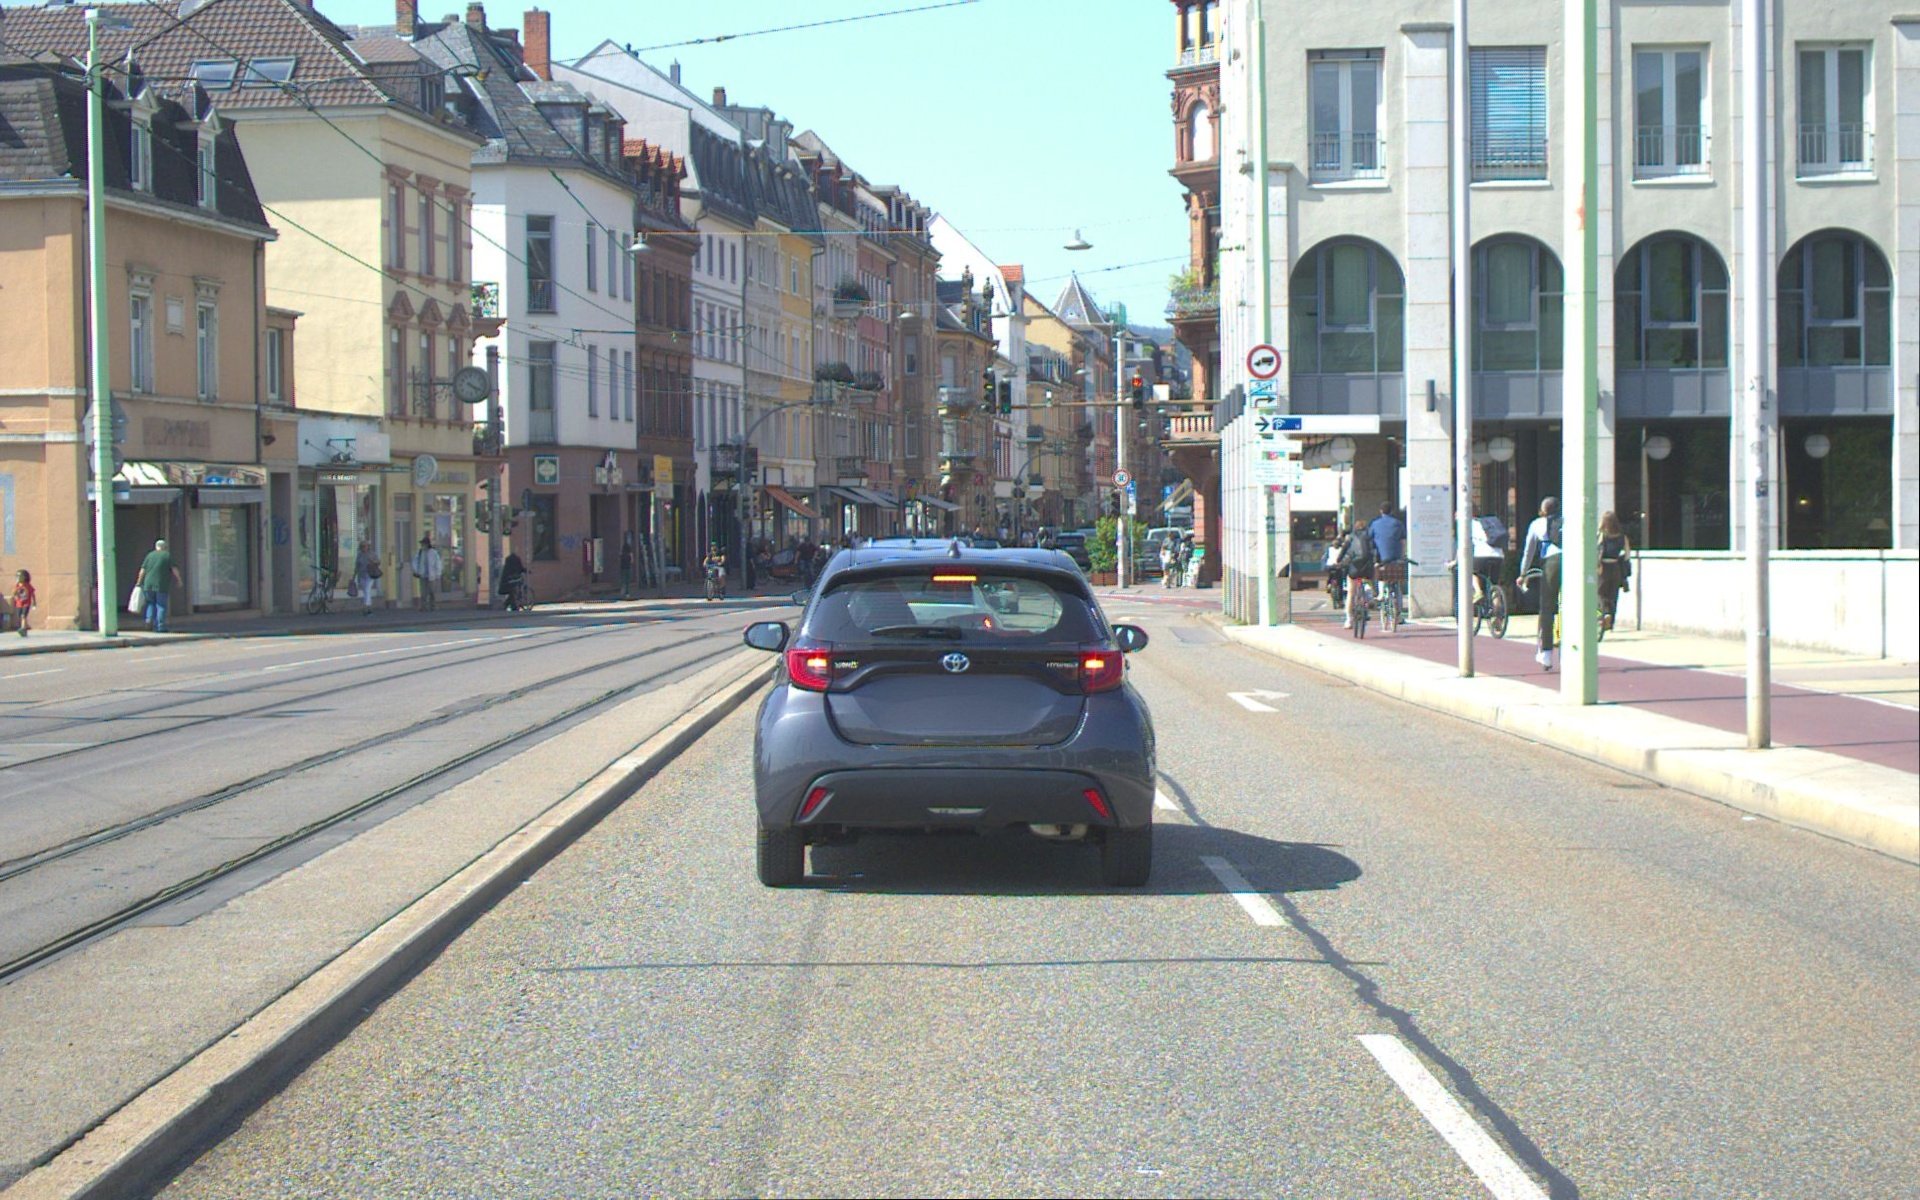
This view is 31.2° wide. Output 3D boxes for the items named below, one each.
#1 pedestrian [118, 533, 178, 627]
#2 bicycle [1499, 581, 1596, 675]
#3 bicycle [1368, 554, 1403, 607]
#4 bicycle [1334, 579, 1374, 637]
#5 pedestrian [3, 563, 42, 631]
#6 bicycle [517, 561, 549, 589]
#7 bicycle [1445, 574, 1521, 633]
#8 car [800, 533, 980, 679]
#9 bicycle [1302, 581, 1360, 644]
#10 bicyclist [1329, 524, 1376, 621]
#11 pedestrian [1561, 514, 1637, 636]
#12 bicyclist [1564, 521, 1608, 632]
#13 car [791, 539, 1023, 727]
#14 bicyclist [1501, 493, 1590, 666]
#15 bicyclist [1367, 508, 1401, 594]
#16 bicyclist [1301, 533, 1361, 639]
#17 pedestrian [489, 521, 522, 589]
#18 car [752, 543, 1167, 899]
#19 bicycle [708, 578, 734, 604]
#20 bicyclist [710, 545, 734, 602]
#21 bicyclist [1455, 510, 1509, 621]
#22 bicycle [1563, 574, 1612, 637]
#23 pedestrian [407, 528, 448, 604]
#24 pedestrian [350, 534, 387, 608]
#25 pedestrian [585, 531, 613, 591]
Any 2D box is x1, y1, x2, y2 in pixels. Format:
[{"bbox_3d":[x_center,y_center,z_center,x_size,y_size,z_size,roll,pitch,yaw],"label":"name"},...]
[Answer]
[{"bbox_3d":[-14.799,-0.365,62.688,0.762,1.648,0.711,4,1,6],"label":"pedestrian"},{"bbox_3d":[5.854,0.269,34.333,0.704,0.879,1.525,-1,1,1],"label":"bicycle"},{"bbox_3d":[6.281,-0.291,50.791,0.416,0.763,0.962,-2,1,3],"label":"bicycle"},{"bbox_3d":[5.459,0.106,47.646,0.416,0.763,1.205,-2,1,1],"label":"bicycle"},{"bbox_3d":[-16.264,-0.056,59.626,0.412,1.142,0.544,4,1,6],"label":"pedestrian"},{"bbox_3d":[-11.218,-0.661,90.338,0.620,0.713,1.771,1,2,0],"label":"bicycle"},{"bbox_3d":[6.983,0.043,45.922,0.416,0.763,0.961,-3,1,-39],"label":"bicycle"},{"bbox_3d":[-0.773,0.028,38.696,1.897,1.525,4.000,1,1,-1],"label":"car"},{"bbox_3d":[9.099,0.297,84.498,1.112,1.415,3.007,4,1,2],"label":"bicycle"},{"bbox_3d":[5.427,-0.381,47.539,0.538,1.312,0.672,-2,1,1],"label":"bicyclist"},{"bbox_3d":[8.751,-0.347,47.117,0.739,1.609,1.016,4,1,-1],"label":"pedestrian"},{"bbox_3d":[7.901,-0.303,43.401,0.422,1.378,0.443,-2,1,0],"label":"bicyclist"},{"bbox_3d":[-0.461,0.241,30.509,1.897,1.525,4.000,1,1,-1],"label":"car"},{"bbox_3d":[5.843,-0.214,34.357,0.701,1.689,0.924,-1,1,0],"label":"bicyclist"},{"bbox_3d":[6.269,-0.728,50.820,0.422,1.252,0.443,-2,1,3],"label":"bicyclist"},{"bbox_3d":[9.126,-0.353,84.597,1.228,2.520,1.105,4,1,3],"label":"bicyclist"},{"bbox_3d":[-11.923,-1.184,90.202,0.736,1.760,0.787,0,2,-1],"label":"pedestrian"},{"bbox_3d":[-0.024,0.478,16.240,1.720,1.468,3.658,1,1,-1],"label":"car"},{"bbox_3d":[-6.981,-0.265,100.552,0.620,0.713,1.771,1,2,0],"label":"bicycle"},{"bbox_3d":[-6.954,-0.781,100.423,0.627,1.644,0.622,1,2,0],"label":"bicyclist"},{"bbox_3d":[6.971,-0.464,45.895,0.484,1.461,0.443,-3,1,-39],"label":"bicyclist"},{"bbox_3d":[7.916,0.067,43.401,0.416,0.763,0.962,-2,1,0],"label":"bicycle"},{"bbox_3d":[-12.706,-0.806,82.012,0.736,1.760,0.787,4,1,0],"label":"pedestrian"},{"bbox_3d":[-13.280,-0.652,77.160,0.649,1.596,0.566,4,3,0],"label":"pedestrian"},{"bbox_3d":[-10.782,-1.167,102.787,0.736,1.760,0.787,0,2,0],"label":"pedestrian"}]
